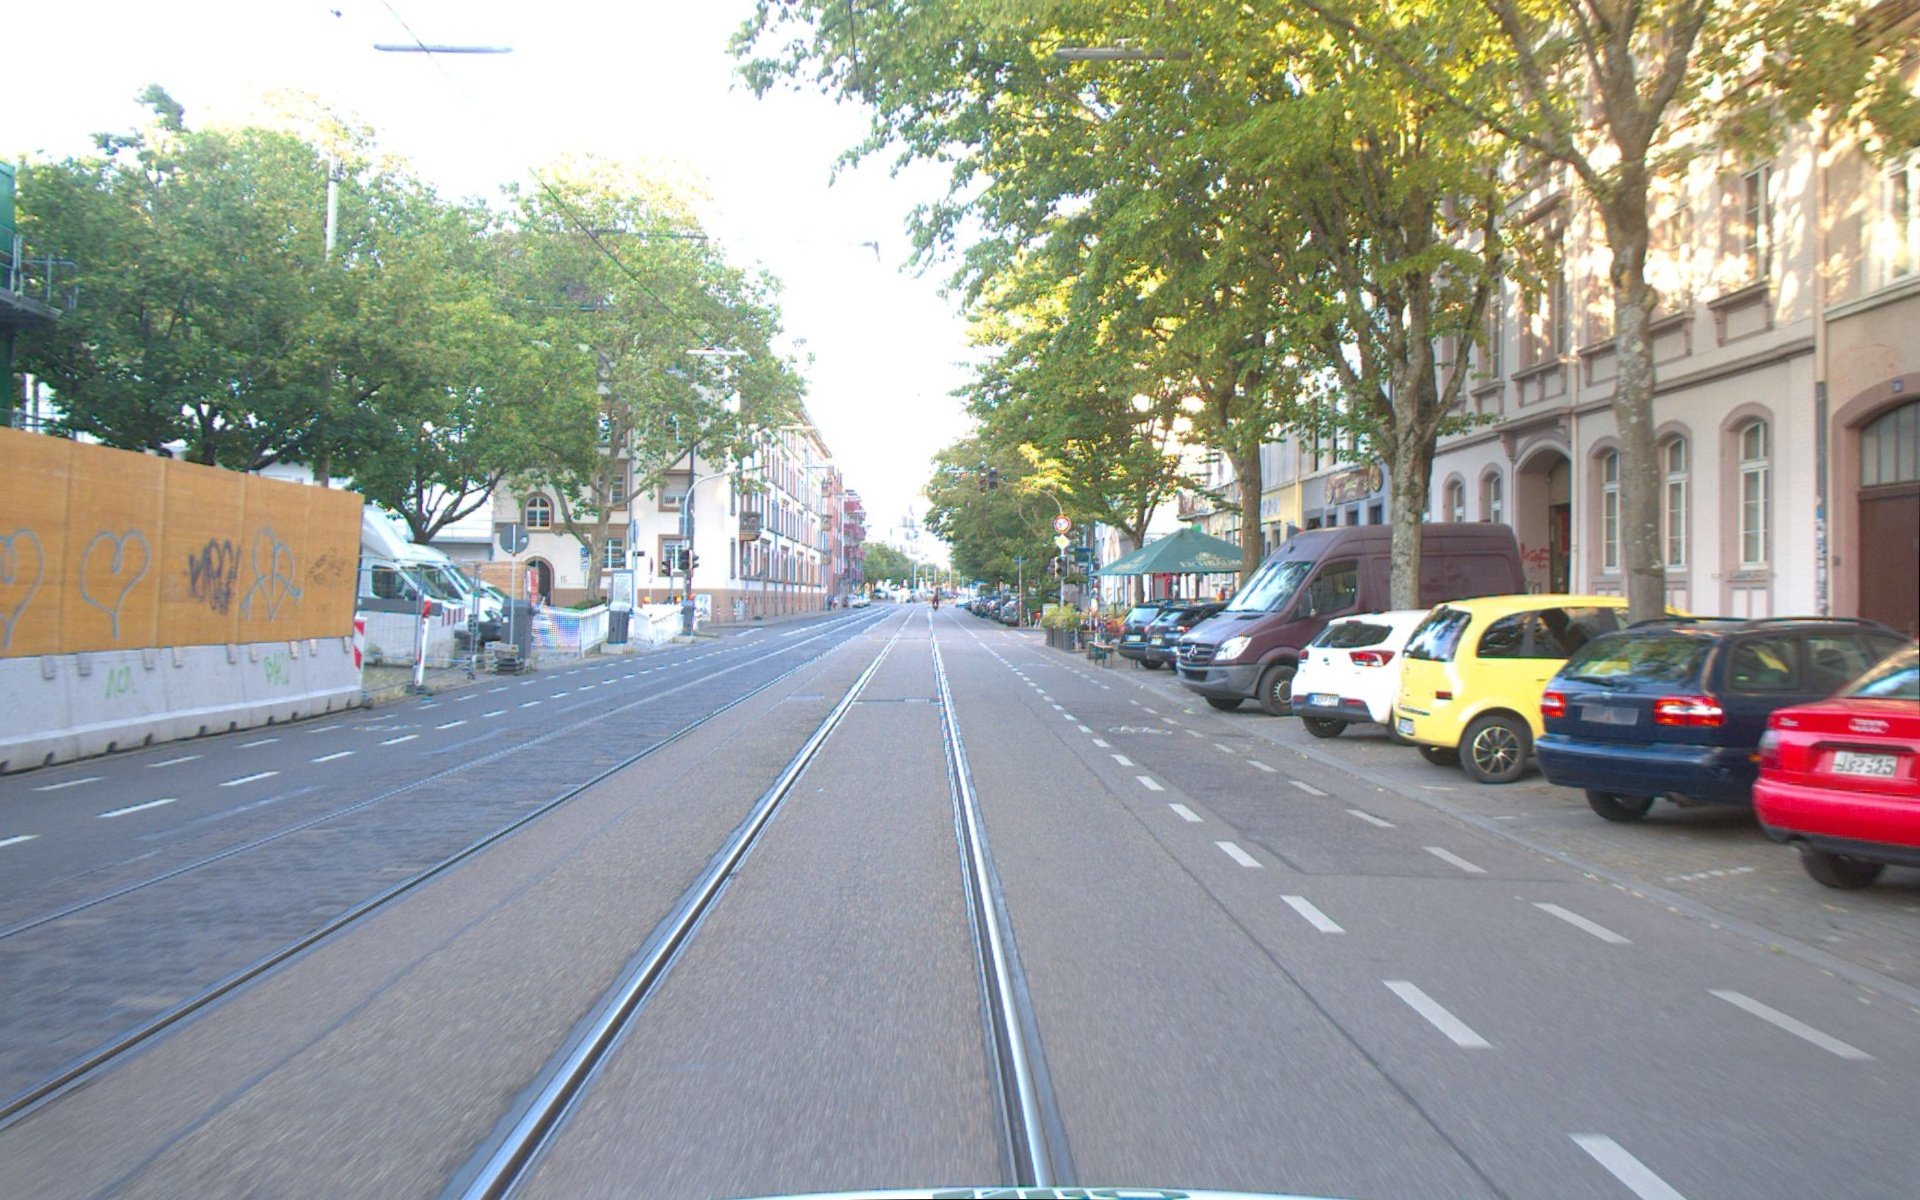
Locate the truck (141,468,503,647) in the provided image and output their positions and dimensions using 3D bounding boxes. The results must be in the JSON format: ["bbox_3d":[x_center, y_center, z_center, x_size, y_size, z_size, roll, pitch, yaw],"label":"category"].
[{"bbox_3d":[-13.994,-0.905,36.710,6.919,3.541,2.539,2,0,-5],"label":"truck"}]

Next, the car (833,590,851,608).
[{"bbox_3d":[-13.663,-0.121,191.343,1.859,2.049,3.999,1,0,-1],"label":"car"}]

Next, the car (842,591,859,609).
[{"bbox_3d":[-13.361,-0.012,201.552,1.859,2.049,3.999,1,0,-1],"label":"car"}]

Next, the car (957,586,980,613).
[{"bbox_3d":[0.681,-0.041,133.665,1.768,2.049,3.999,1,0,-1],"label":"car"}]

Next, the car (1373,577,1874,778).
[{"bbox_3d":[6.053,0.680,15.439,3.870,1.648,1.920,-2,0,-1],"label":"car"}]

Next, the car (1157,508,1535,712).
[{"bbox_3d":[5.606,0.101,24.083,5.016,2.689,2.011,-2,0,-18],"label":"car"}]

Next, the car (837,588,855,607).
[{"bbox_3d":[-13.501,-0.249,195.993,1.859,2.216,3.999,1,0,-1],"label":"car"}]

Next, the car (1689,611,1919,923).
[{"bbox_3d":[6.229,0.776,9.136,4.072,1.450,1.881,-1,0,-27],"label":"car"}]

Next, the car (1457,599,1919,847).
[{"bbox_3d":[5.821,0.763,11.967,4.072,1.450,1.904,-1,0,-27],"label":"car"}]

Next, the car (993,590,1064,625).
[{"bbox_3d":[3.774,0.429,91.388,3.808,1.880,1.861,0,0,0],"label":"car"}]

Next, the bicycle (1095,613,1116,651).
[{"bbox_3d":[4.170,0.901,47.502,0.410,1.033,1.829,1,0,-1],"label":"bicycle"}]

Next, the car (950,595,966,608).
[{"bbox_3d":[-0.277,0.172,222.431,1.923,1.748,3.999,1,0,-1],"label":"car"}]

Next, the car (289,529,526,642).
[{"bbox_3d":[-14.115,-0.374,42.557,5.293,2.603,2.225,2,0,-4],"label":"car"}]

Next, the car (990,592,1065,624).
[{"bbox_3d":[3.486,0.408,86.144,3.808,1.620,1.861,0,0,0],"label":"car"}]

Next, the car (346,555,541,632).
[{"bbox_3d":[-15.072,-0.199,48.442,4.922,1.979,2.228,2,1,3],"label":"car"}]

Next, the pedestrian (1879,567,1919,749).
[{"bbox_3d":[8.711,0.510,14.805,0.527,1.595,0.813,0,0,0],"label":"pedestrian"}]

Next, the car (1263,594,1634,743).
[{"bbox_3d":[5.738,0.747,19.425,3.901,1.512,1.905,-1,-1,-25],"label":"car"}]

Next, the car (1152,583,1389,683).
[{"bbox_3d":[5.677,0.584,30.491,3.937,1.737,1.815,0,-1,-8],"label":"car"}]

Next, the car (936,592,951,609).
[{"bbox_3d":[-2.153,0.052,211.114,1.859,2.049,3.999,1,0,-1],"label":"car"}]

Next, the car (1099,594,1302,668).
[{"bbox_3d":[5.390,0.659,37.045,4.124,1.525,1.992,-1,0,-26],"label":"car"}]

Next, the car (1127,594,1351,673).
[{"bbox_3d":[5.752,0.666,34.216,4.109,1.488,1.999,-1,0,-17],"label":"car"}]
